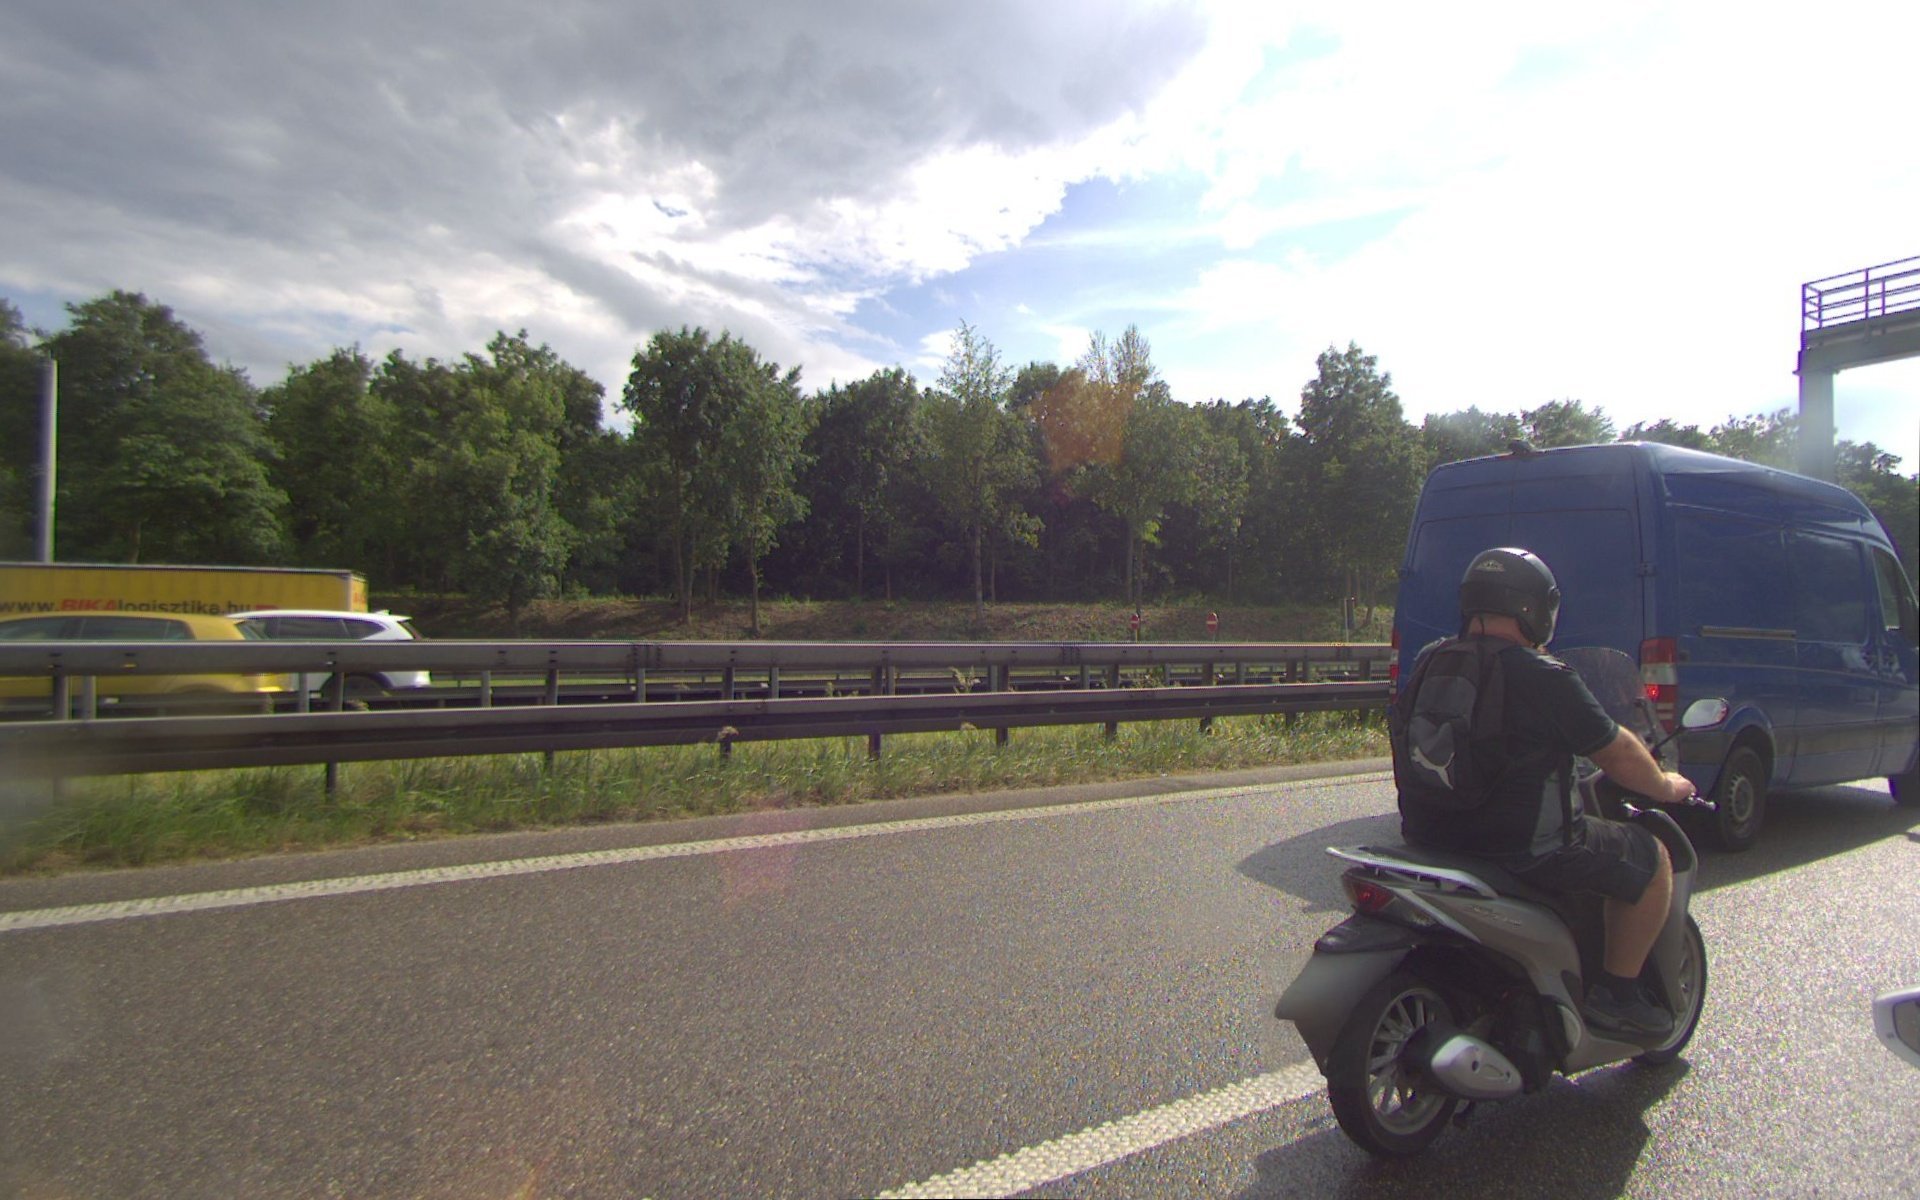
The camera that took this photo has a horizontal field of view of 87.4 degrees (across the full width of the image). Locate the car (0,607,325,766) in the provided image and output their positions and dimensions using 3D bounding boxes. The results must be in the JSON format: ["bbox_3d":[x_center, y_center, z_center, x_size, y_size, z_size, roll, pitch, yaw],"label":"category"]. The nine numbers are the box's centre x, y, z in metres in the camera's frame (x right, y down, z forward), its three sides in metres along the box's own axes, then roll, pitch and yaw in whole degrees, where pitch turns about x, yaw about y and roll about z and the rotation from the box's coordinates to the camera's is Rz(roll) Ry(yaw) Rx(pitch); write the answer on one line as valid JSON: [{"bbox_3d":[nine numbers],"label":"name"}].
[{"bbox_3d":[-8.572,0.780,9.739,3.953,1.354,1.793,2,0,-30],"label":"car"}]

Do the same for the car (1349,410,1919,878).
[{"bbox_3d":[5.865,0.317,8.108,5.711,2.684,2.005,2,0,-31],"label":"car"}]

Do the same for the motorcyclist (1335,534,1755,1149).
[{"bbox_3d":[1.718,0.585,2.946,1.009,1.461,0.666,2,0,-34],"label":"motorcyclist"}]

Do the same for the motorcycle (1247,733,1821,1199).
[{"bbox_3d":[1.787,1.038,2.995,1.961,1.101,0.672,1,0,-34],"label":"motorcycle"}]

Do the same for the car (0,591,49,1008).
[{"bbox_3d":[-4.981,0.634,1.982,4.417,1.430,1.710,2,-1,-31],"label":"car"}]

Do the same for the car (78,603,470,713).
[{"bbox_3d":[-9.496,0.790,14.362,4.359,1.354,1.793,2,0,-30],"label":"car"}]

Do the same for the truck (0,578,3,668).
[{"bbox_3d":[-35.512,0.723,33.307,4.997,3.139,1.974,2,0,-19],"label":"truck"}]

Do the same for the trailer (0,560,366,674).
[{"bbox_3d":[-28.979,0.633,35.539,13.445,3.744,1.992,2,0,-19],"label":"trailer"}]
